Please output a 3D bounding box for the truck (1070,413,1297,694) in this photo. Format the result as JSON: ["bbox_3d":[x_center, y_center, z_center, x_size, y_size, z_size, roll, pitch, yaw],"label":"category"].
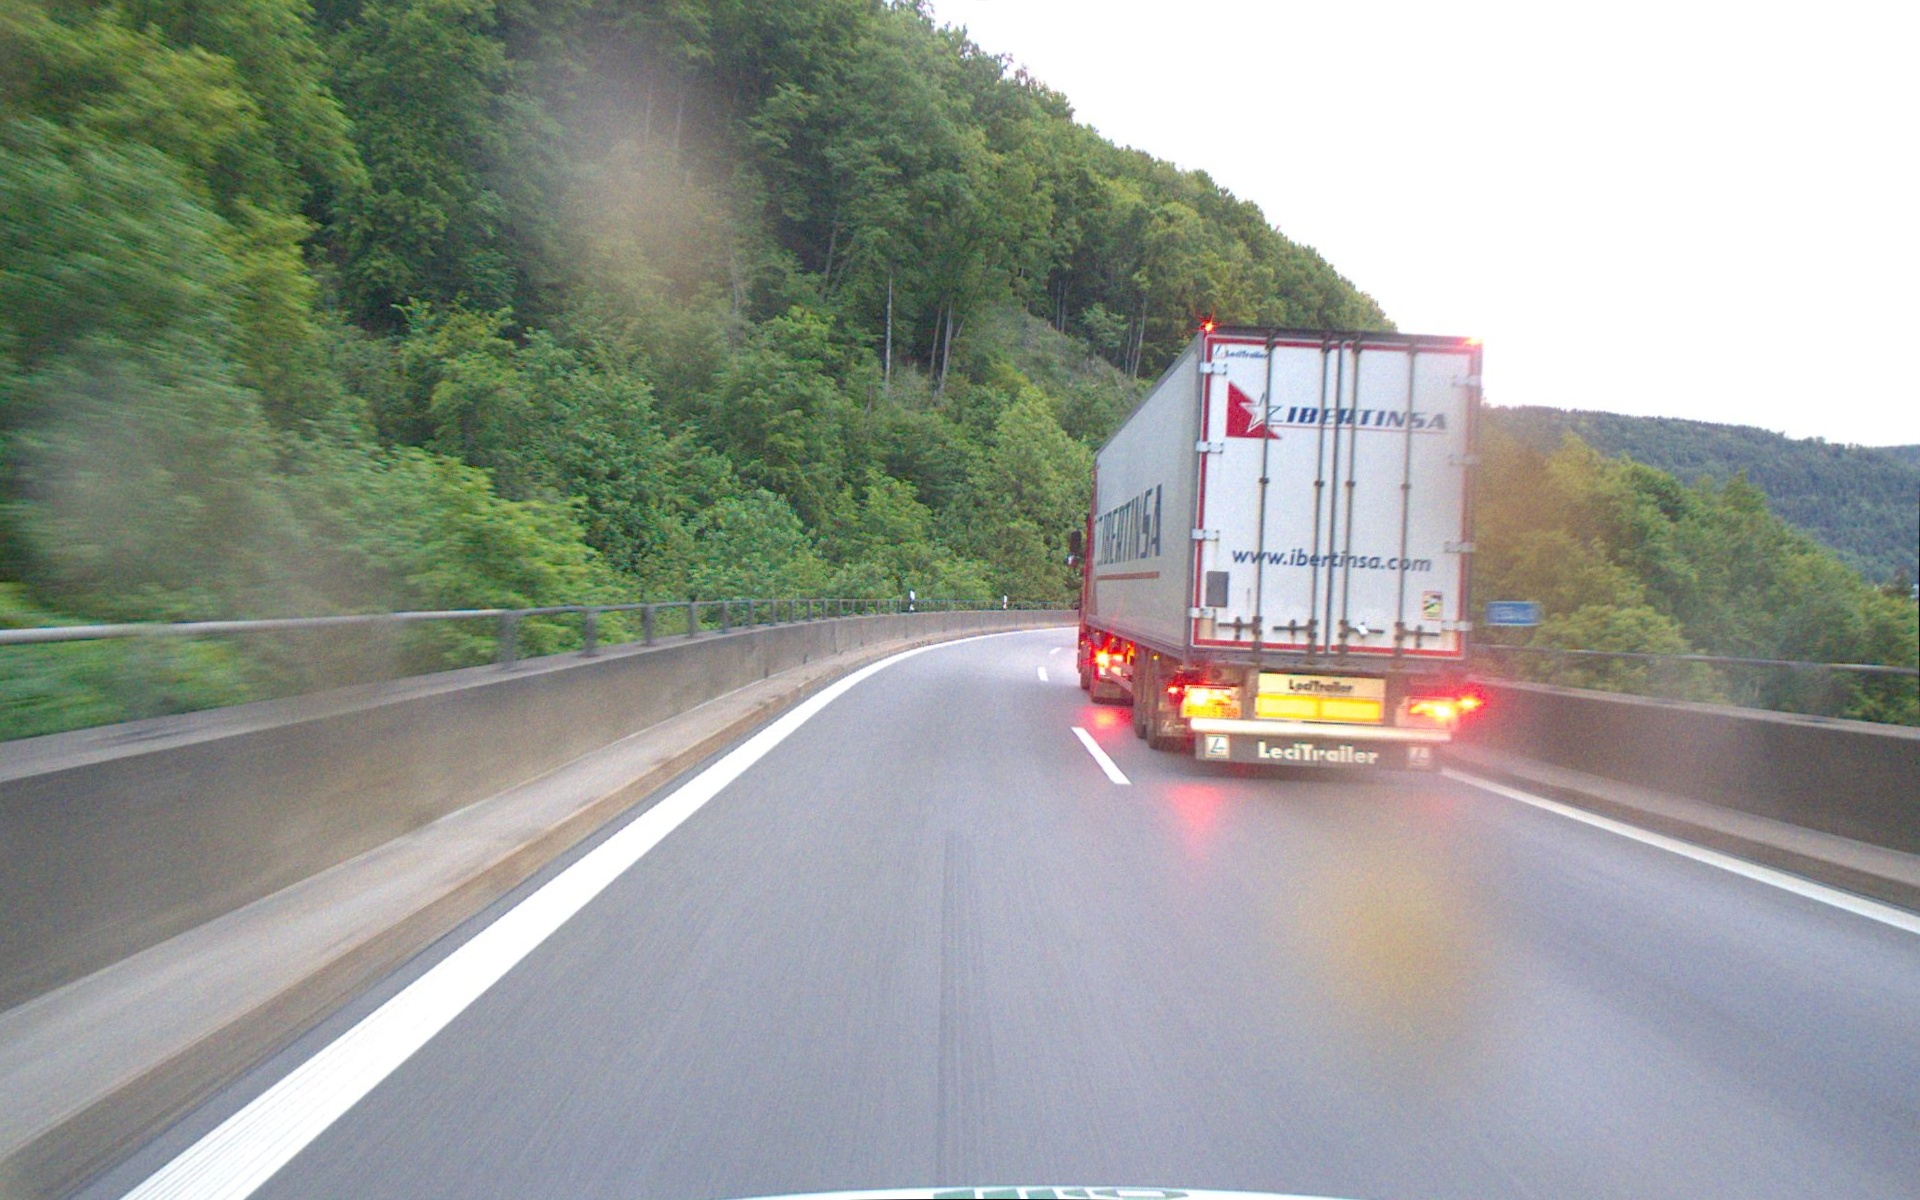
[{"bbox_3d":[3.604,-0.702,28.333,3.006,4.217,6.446,-1,0,0],"label":"truck"}]

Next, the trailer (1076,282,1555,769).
[{"bbox_3d":[3.527,-0.537,21.181,3.034,4.040,14.216,2,-1,0],"label":"trailer"}]
